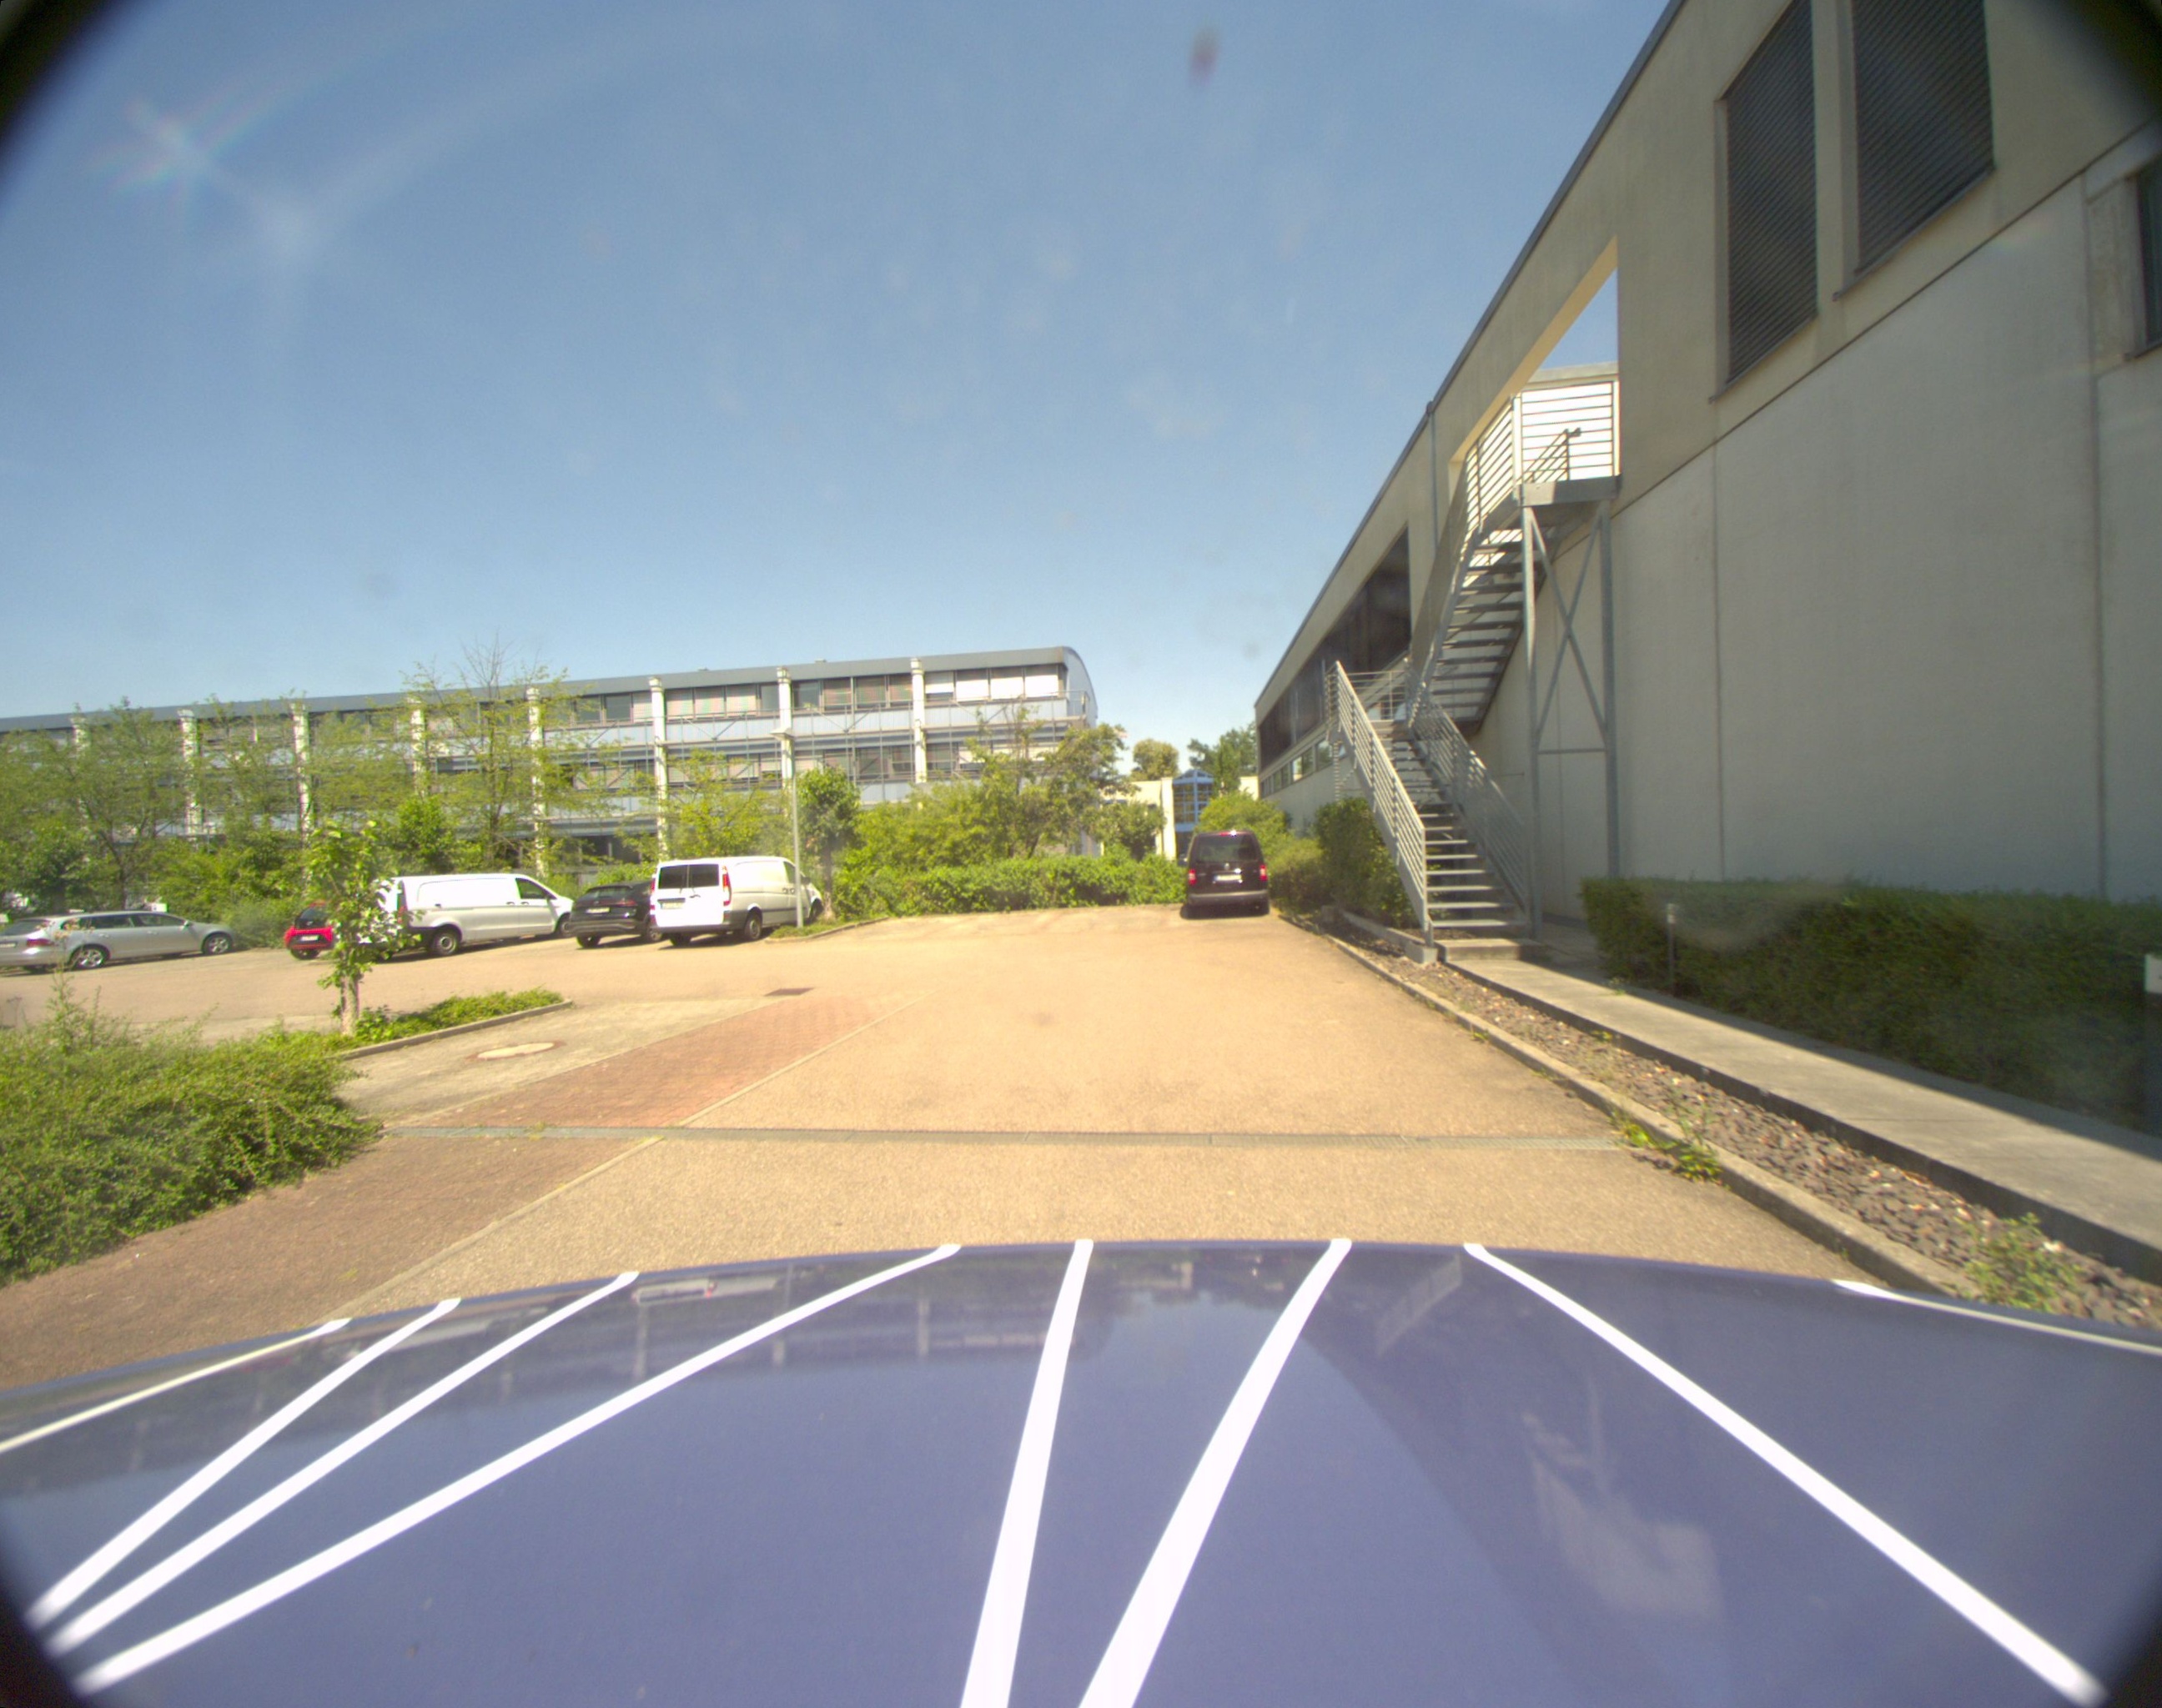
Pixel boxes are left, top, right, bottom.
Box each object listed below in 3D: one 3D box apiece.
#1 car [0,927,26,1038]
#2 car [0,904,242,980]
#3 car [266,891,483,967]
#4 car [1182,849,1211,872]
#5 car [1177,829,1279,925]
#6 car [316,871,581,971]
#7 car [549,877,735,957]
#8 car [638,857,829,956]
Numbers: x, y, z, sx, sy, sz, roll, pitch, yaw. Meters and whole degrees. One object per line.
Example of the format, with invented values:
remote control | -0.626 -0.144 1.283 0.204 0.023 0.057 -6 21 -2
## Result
car | -16.189 1.864 8.674 1.854 1.511 4.429 -4 0 6
car | -26.038 2.304 20.559 1.737 1.475 4.087 -4 1 9
car | -18.339 1.880 20.002 1.622 1.479 3.923 -4 1 8
car | 9.042 0.506 59.891 1.835 1.558 4.000 -3 2 4
car | 3.244 0.445 17.554 1.866 1.849 4.230 -4 1 6
car | -15.224 1.512 18.769 1.854 1.845 4.937 -4 1 8
car | -10.606 1.446 18.777 1.737 1.475 4.199 -4 1 6
car | -7.920 1.086 17.950 1.866 1.849 4.678 -4 1 6
